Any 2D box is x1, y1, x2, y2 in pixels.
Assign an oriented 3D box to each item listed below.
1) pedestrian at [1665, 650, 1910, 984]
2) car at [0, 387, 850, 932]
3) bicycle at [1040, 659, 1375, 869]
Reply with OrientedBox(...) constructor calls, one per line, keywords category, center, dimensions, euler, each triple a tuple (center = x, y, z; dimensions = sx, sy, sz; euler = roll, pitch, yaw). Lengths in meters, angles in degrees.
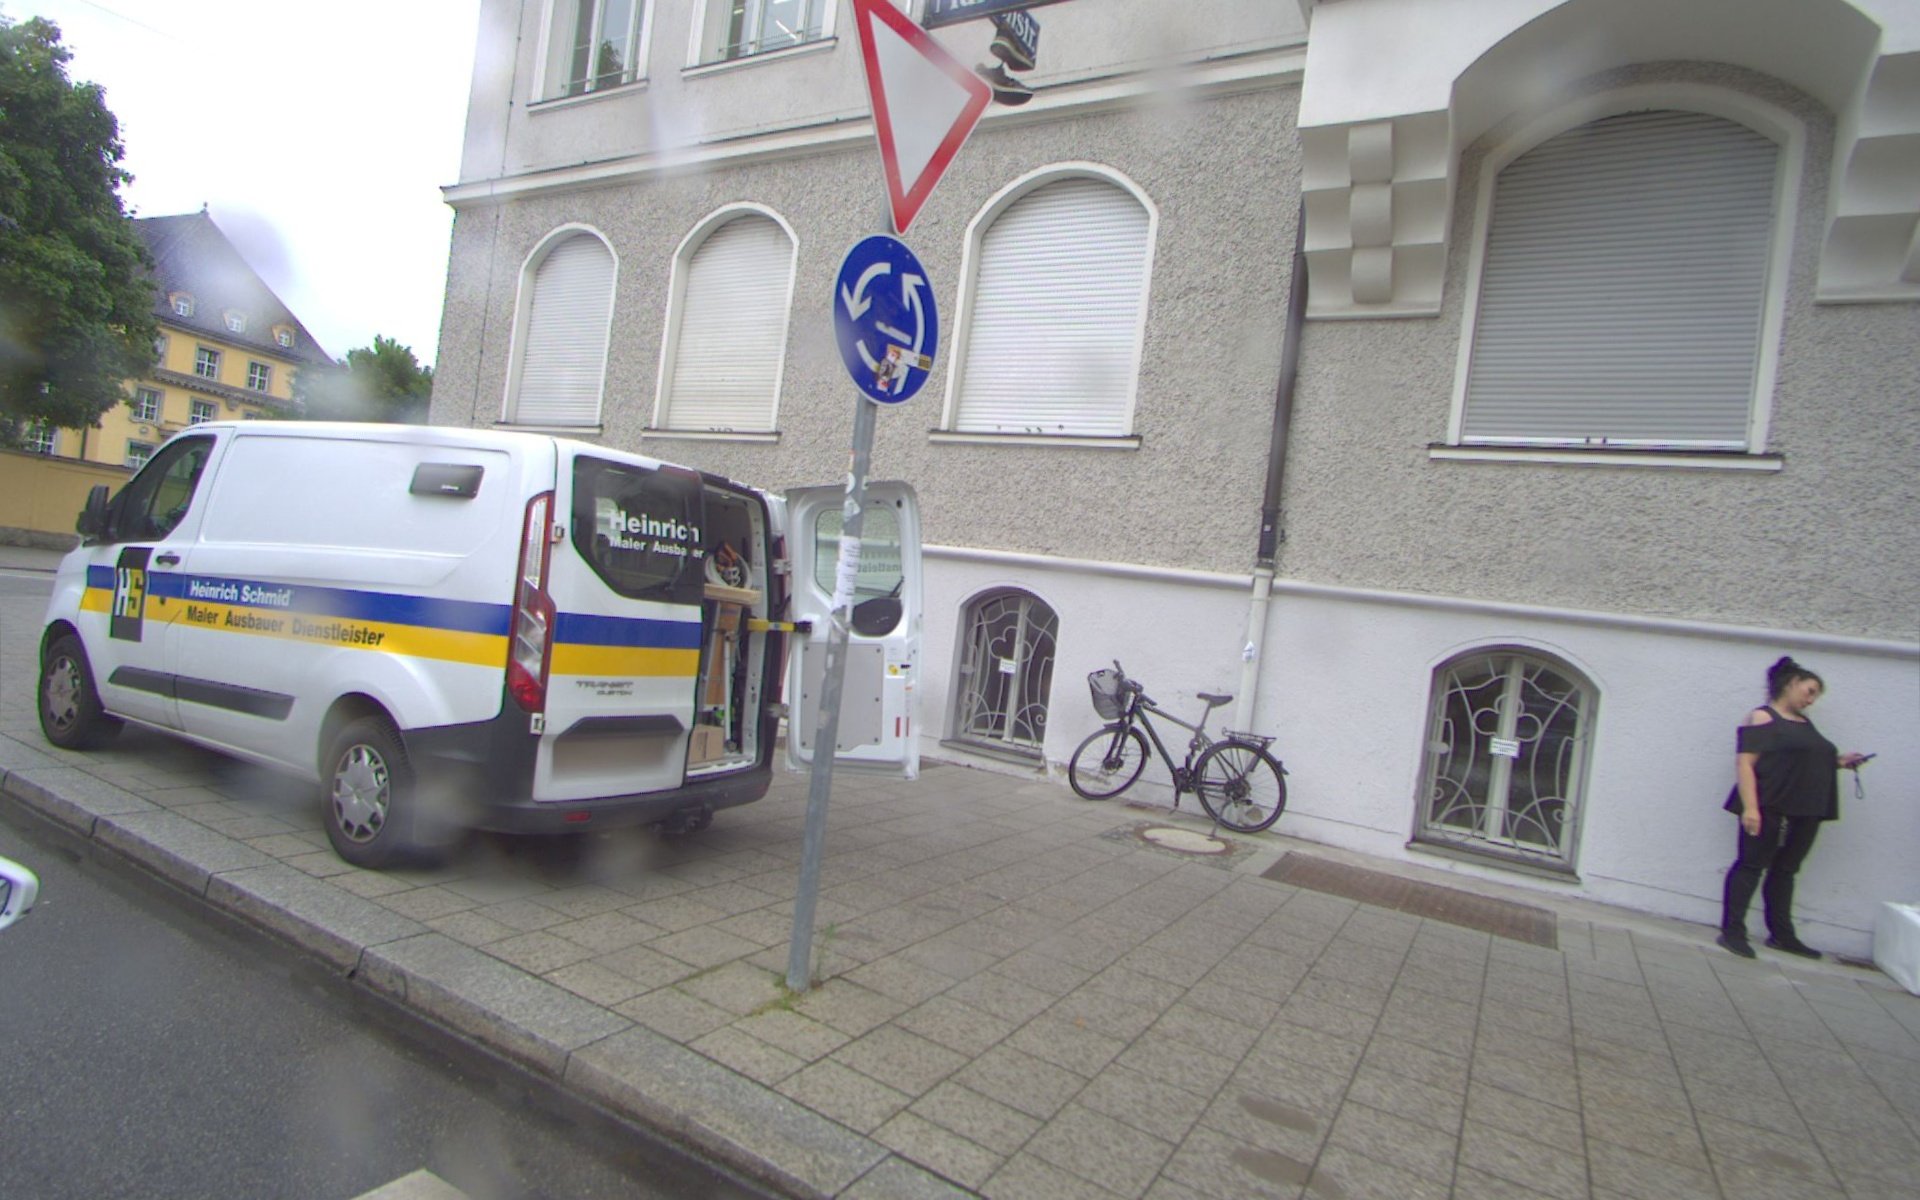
OrientedBox(category="pedestrian", center=(4.780, 1.213, 5.848), dimensions=(0.724, 1.760, 0.690), euler=(3, 2, -16))
OrientedBox(category="car", center=(-3.265, 0.041, 5.733), dimensions=(4.841, 1.986, 1.919), euler=(7, 1, 28))
OrientedBox(category="bicycle", center=(1.819, 1.148, 7.585), dimensions=(2.244, 1.108, 0.695), euler=(7, 2, 30))
